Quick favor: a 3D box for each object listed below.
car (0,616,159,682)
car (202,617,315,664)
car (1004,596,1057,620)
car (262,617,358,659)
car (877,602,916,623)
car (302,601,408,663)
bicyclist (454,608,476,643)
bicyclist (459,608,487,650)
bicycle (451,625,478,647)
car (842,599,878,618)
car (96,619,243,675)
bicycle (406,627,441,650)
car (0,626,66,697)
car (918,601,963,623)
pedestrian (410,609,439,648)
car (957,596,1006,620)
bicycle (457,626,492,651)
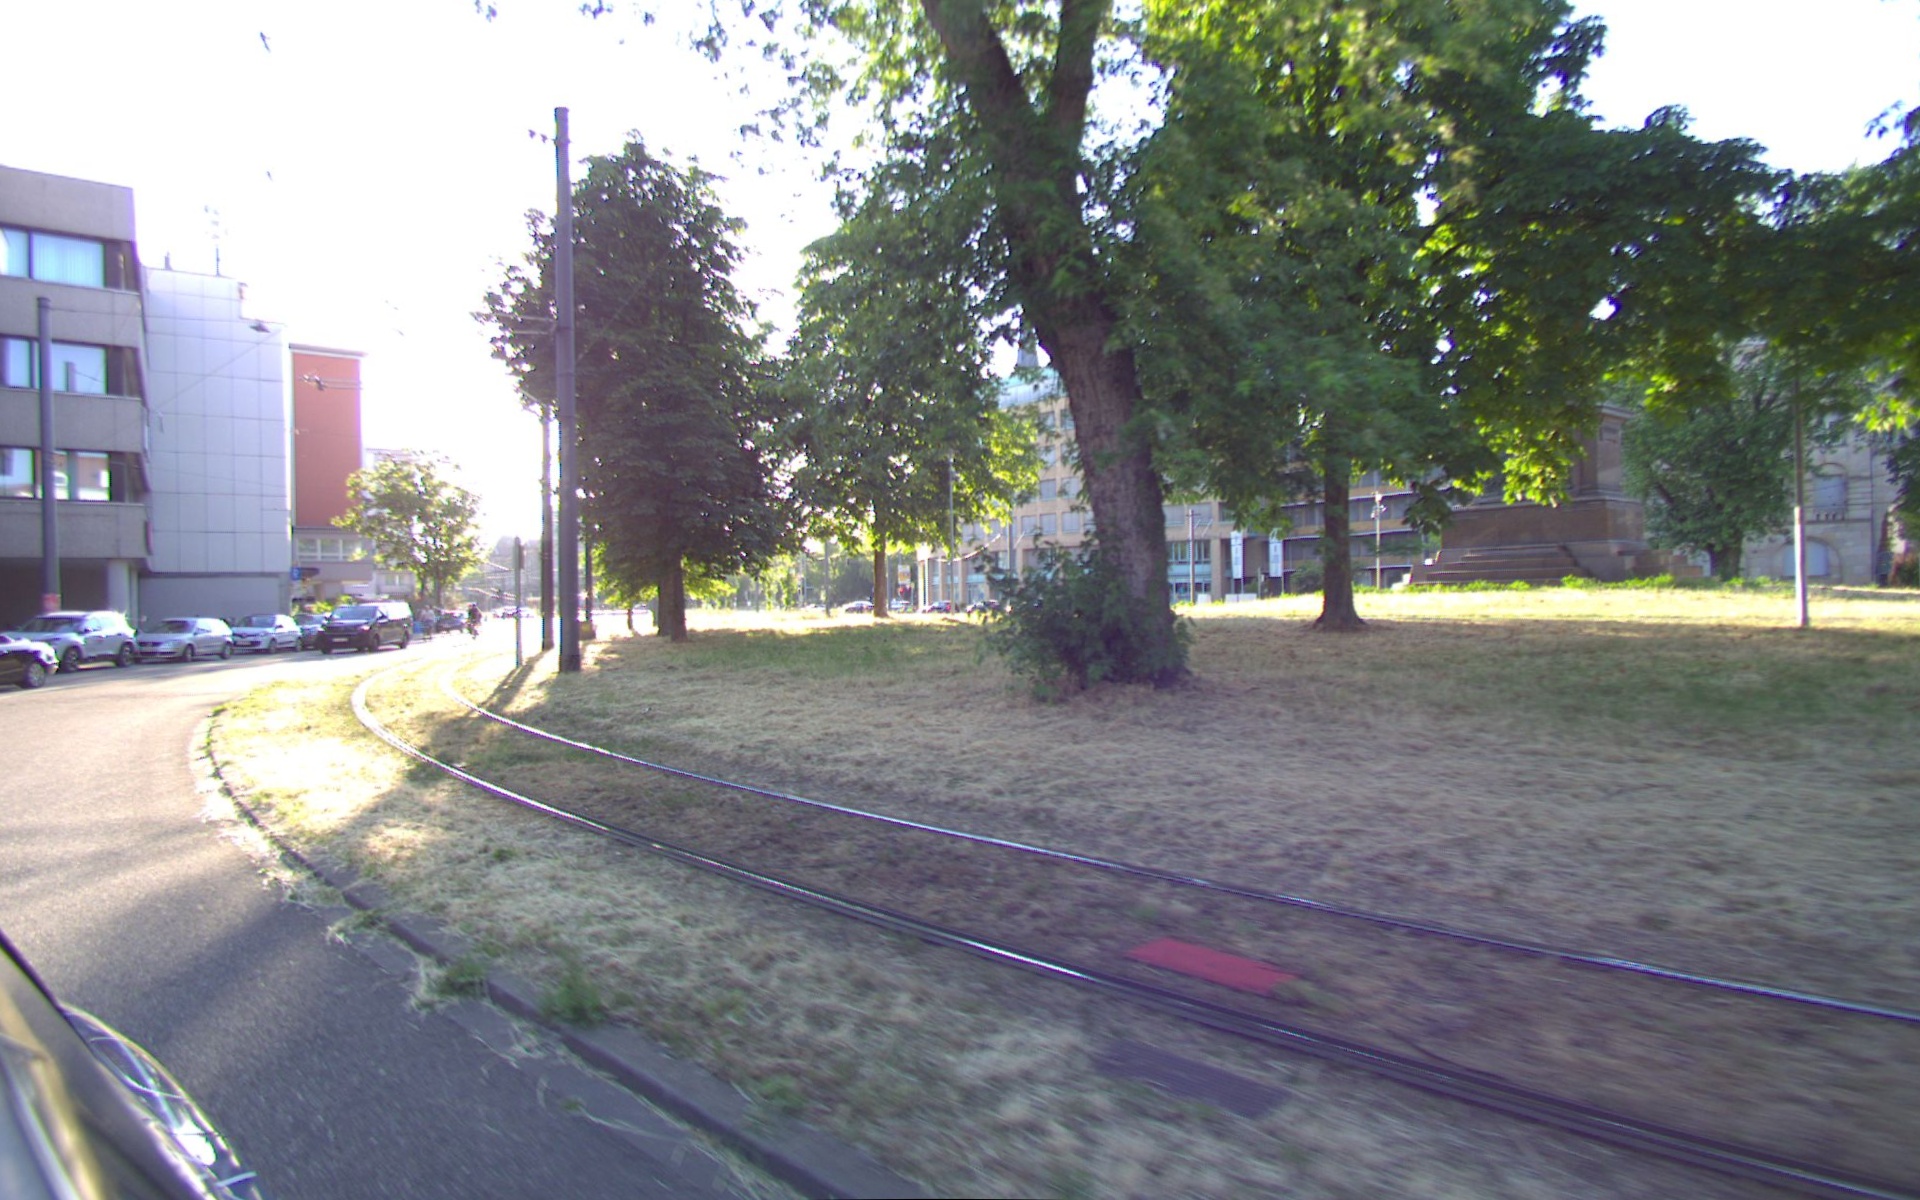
[{"bbox_3d":[-25.717,1.356,29.306,1.968,1.617,4.533,-2,0,-9],"label":"car"},{"bbox_3d":[-28.122,1.589,40.766,1.968,1.617,4.533,-2,0,-9],"label":"car"},{"bbox_3d":[6.058,0.689,87.697,1.968,2.029,4.557,-2,0,-38],"label":"car"},{"bbox_3d":[-29.066,1.653,45.424,1.968,1.617,4.533,-2,0,-9],"label":"car"},{"bbox_3d":[-6.523,1.295,103.734,1.968,2.029,4.008,-2,0,-38],"label":"car"},{"bbox_3d":[-23.507,1.174,39.513,1.968,2.172,4.533,-2,0,-9],"label":"car"},{"bbox_3d":[-26.540,1.357,54.308,0.848,1.796,0.988,-1,0,-12],"label":"bicyclist"},{"bbox_3d":[-23.547,1.402,48.980,0.910,1.989,1.116,-2,0,-9],"label":"bicyclist"},{"bbox_3d":[-26.488,1.908,54.154,0.859,1.105,1.855,-2,0,-13],"label":"bicycle"},{"bbox_3d":[-10.924,0.916,110.220,1.968,2.029,4.008,-2,0,-38],"label":"car"},{"bbox_3d":[-26.650,1.521,34.338,1.968,1.617,4.533,-2,0,-9],"label":"car"},{"bbox_3d":[-28.005,2.008,52.831,0.942,1.084,2.226,-2,0,-9],"label":"bicycle"},{"bbox_3d":[-20.617,1.321,20.237,1.968,1.404,4.533,-2,0,-9],"label":"car"},{"bbox_3d":[-1.889,1.164,98.079,1.968,2.029,4.557,-2,0,-38],"label":"car"},{"bbox_3d":[-28.049,1.479,53.013,0.921,1.987,1.276,-2,0,-9],"label":"pedestrian"},{"bbox_3d":[1.912,0.745,92.497,1.968,2.029,4.557,-2,0,-38],"label":"car"},{"bbox_3d":[-23.565,1.842,49.163,0.921,1.084,2.226,-2,0,-9],"label":"bicycle"}]
